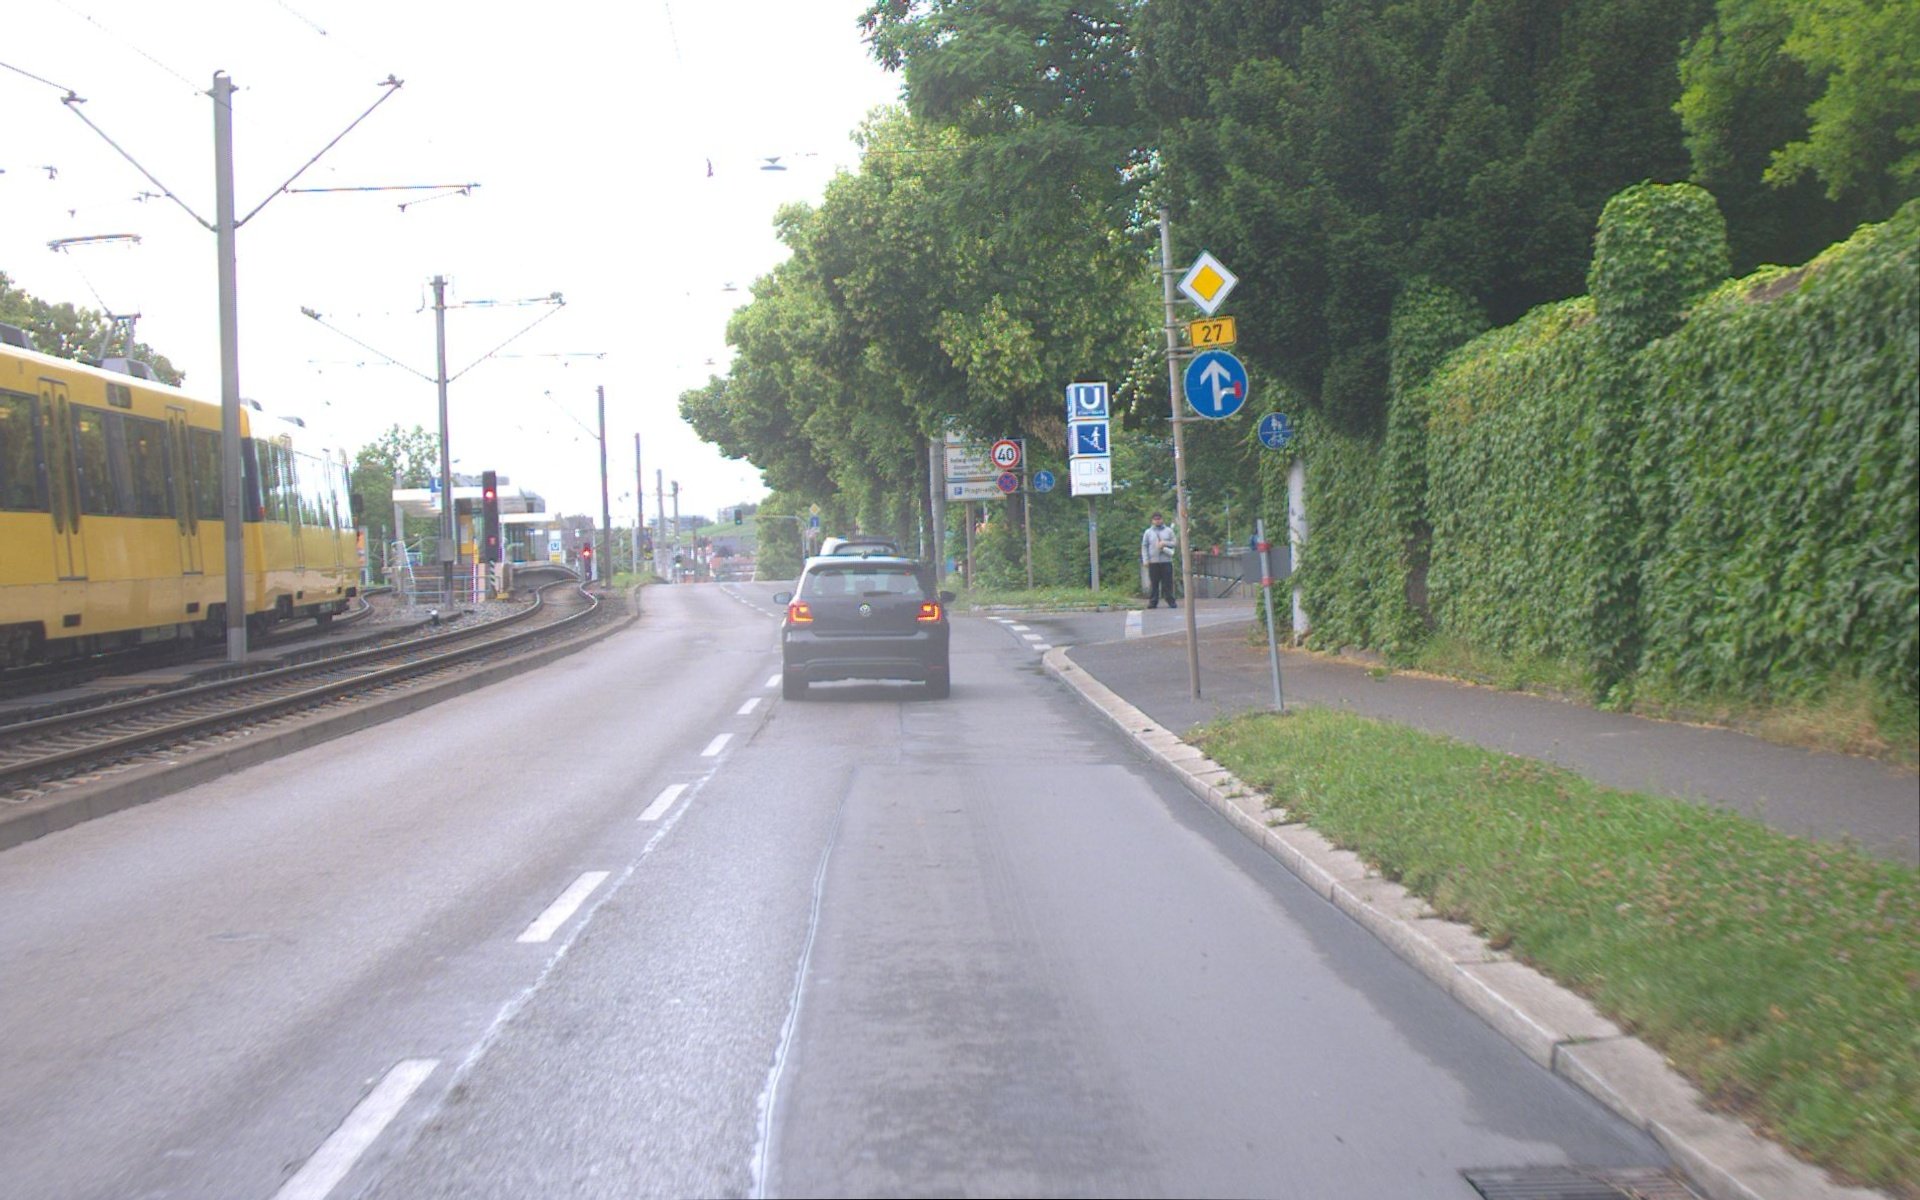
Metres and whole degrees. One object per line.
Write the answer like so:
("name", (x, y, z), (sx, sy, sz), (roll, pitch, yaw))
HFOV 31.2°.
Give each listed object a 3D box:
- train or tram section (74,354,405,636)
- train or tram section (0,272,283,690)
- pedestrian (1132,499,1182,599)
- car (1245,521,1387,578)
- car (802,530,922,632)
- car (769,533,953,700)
("train or tram section", (-11.764, -1.720, 58.220), (2.828, 3.962, 17.880), (-2, 1, -4))
("train or tram section", (-10.811, -1.263, 39.563), (2.828, 3.962, 20.031), (-2, 1, -2))
("pedestrian", (3.712, -0.966, 64.739), (0.855, 1.847, 0.737), (-1, 1, -1))
("car", (11.859, -1.705, 114.665), (1.941, 1.828, 4.465), (0, 2, -45))
("car", (-1.603, -0.339, 55.042), (1.687, 1.512, 4.001), (-2, 1, -4))
("car", (-0.985, 0.120, 35.147), (1.726, 1.535, 4.000), (-2, 1, -1))
